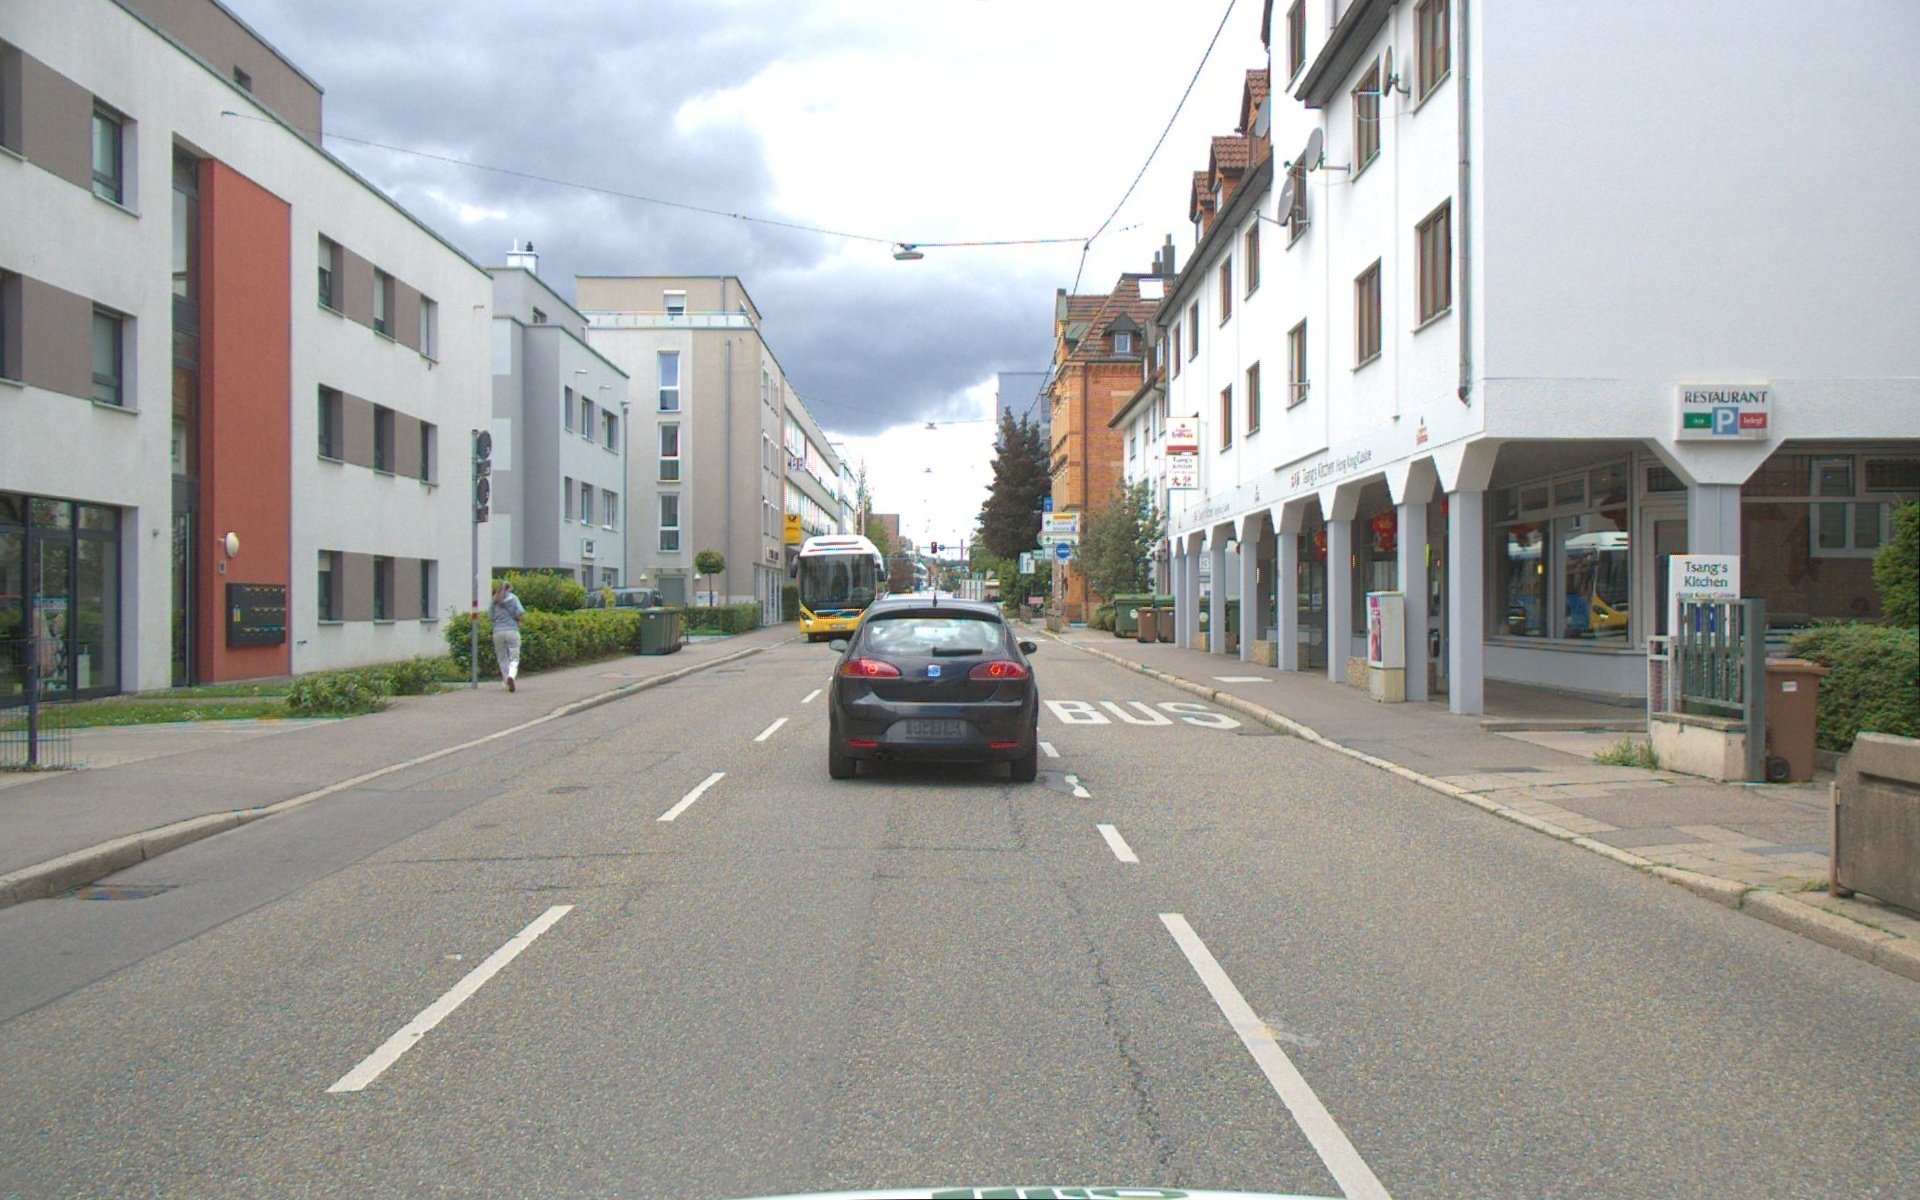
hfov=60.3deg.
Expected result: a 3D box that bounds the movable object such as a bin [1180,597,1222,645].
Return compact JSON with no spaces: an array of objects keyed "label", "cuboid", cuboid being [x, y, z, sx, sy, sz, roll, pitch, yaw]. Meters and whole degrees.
[{"label":"movable object such as a bin","cuboid":[7.432,0.645,51.014,1.184,1.442,1.260,0,0,3]}]

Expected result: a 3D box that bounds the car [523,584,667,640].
[{"label":"car","cuboid":[-11.406,0.380,51.854,4.076,1.697,1.725,0,-1,2]}]

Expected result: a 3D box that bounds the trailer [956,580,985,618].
[{"label":"trailer","cuboid":[0.759,-0.066,119.284,1.953,2.653,5.347,0,0,-1]}]

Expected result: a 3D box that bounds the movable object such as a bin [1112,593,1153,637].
[{"label":"movable object such as a bin","cuboid":[5.763,0.506,55.287,1.241,1.442,1.162,0,0,-1]}]

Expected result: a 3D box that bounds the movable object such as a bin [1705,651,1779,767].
[{"label":"movable object such as a bin","cuboid":[6.416,0.888,13.586,0.389,0.919,0.456,0,0,-1]}]

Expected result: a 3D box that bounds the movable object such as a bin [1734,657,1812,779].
[{"label":"movable object such as a bin","cuboid":[6.371,0.917,12.977,0.389,0.919,0.456,0,0,-1]}]

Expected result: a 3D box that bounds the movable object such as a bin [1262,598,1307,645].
[{"label":"movable object such as a bin","cuboid":[9.998,0.659,50.987,1.184,1.442,1.260,0,0,3]}]

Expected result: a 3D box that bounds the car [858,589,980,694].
[{"label":"car","cuboid":[-0.636,0.603,25.922,1.767,1.519,3.736,0,0,-1]}]

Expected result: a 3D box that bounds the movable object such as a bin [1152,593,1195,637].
[{"label":"movable object such as a bin","cuboid":[7.092,0.491,55.011,1.241,1.460,1.307,0,0,-1]}]

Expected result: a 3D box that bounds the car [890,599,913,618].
[{"label":"car","cuboid":[-4.950,0.734,140.169,1.840,1.476,4.213,-2,0,-1]}]

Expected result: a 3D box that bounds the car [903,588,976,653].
[{"label":"car","cuboid":[-0.541,0.496,41.913,1.767,1.580,3.736,0,0,-1]}]

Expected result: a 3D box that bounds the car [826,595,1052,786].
[{"label":"car","cuboid":[-0.182,0.687,14.555,1.729,1.458,3.828,0,0,-1]}]

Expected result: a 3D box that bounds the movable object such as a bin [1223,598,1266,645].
[{"label":"movable object such as a bin","cuboid":[8.767,0.650,51.017,1.184,1.442,1.260,0,0,3]}]

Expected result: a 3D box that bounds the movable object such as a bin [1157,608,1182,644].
[{"label":"movable object such as a bin","cuboid":[6.496,0.808,51.349,0.683,1.098,0.972,0,0,3]}]

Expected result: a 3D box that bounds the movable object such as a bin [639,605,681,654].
[{"label":"movable object such as a bin","cuboid":[-7.305,0.706,40.291,0.930,1.171,0.748,0,0,-5]}]

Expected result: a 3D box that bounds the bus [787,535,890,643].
[{"label":"bus","cuboid":[-4.082,-0.383,58.088,2.883,3.331,12.005,-1,0,-1]}]

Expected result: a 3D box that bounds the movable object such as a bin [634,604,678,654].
[{"label":"movable object such as a bin","cuboid":[-7.250,0.685,39.459,0.937,1.171,0.839,0,0,-5]}]

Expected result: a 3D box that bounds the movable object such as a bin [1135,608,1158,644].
[{"label":"movable object such as a bin","cuboid":[5.781,0.811,51.364,0.669,1.086,0.972,0,0,3]}]

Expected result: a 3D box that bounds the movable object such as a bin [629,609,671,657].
[{"label":"movable object such as a bin","cuboid":[-7.213,0.770,38.542,0.877,1.108,0.792,0,0,-5]}]

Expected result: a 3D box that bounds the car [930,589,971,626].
[{"label":"car","cuboid":[-0.464,0.319,73.889,1.767,1.580,3.736,0,0,-1]}]

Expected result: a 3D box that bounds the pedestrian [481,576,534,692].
[{"label":"pedestrian","cuboid":[-6.582,0.493,24.099,0.625,1.671,0.520,0,0,-1]}]
